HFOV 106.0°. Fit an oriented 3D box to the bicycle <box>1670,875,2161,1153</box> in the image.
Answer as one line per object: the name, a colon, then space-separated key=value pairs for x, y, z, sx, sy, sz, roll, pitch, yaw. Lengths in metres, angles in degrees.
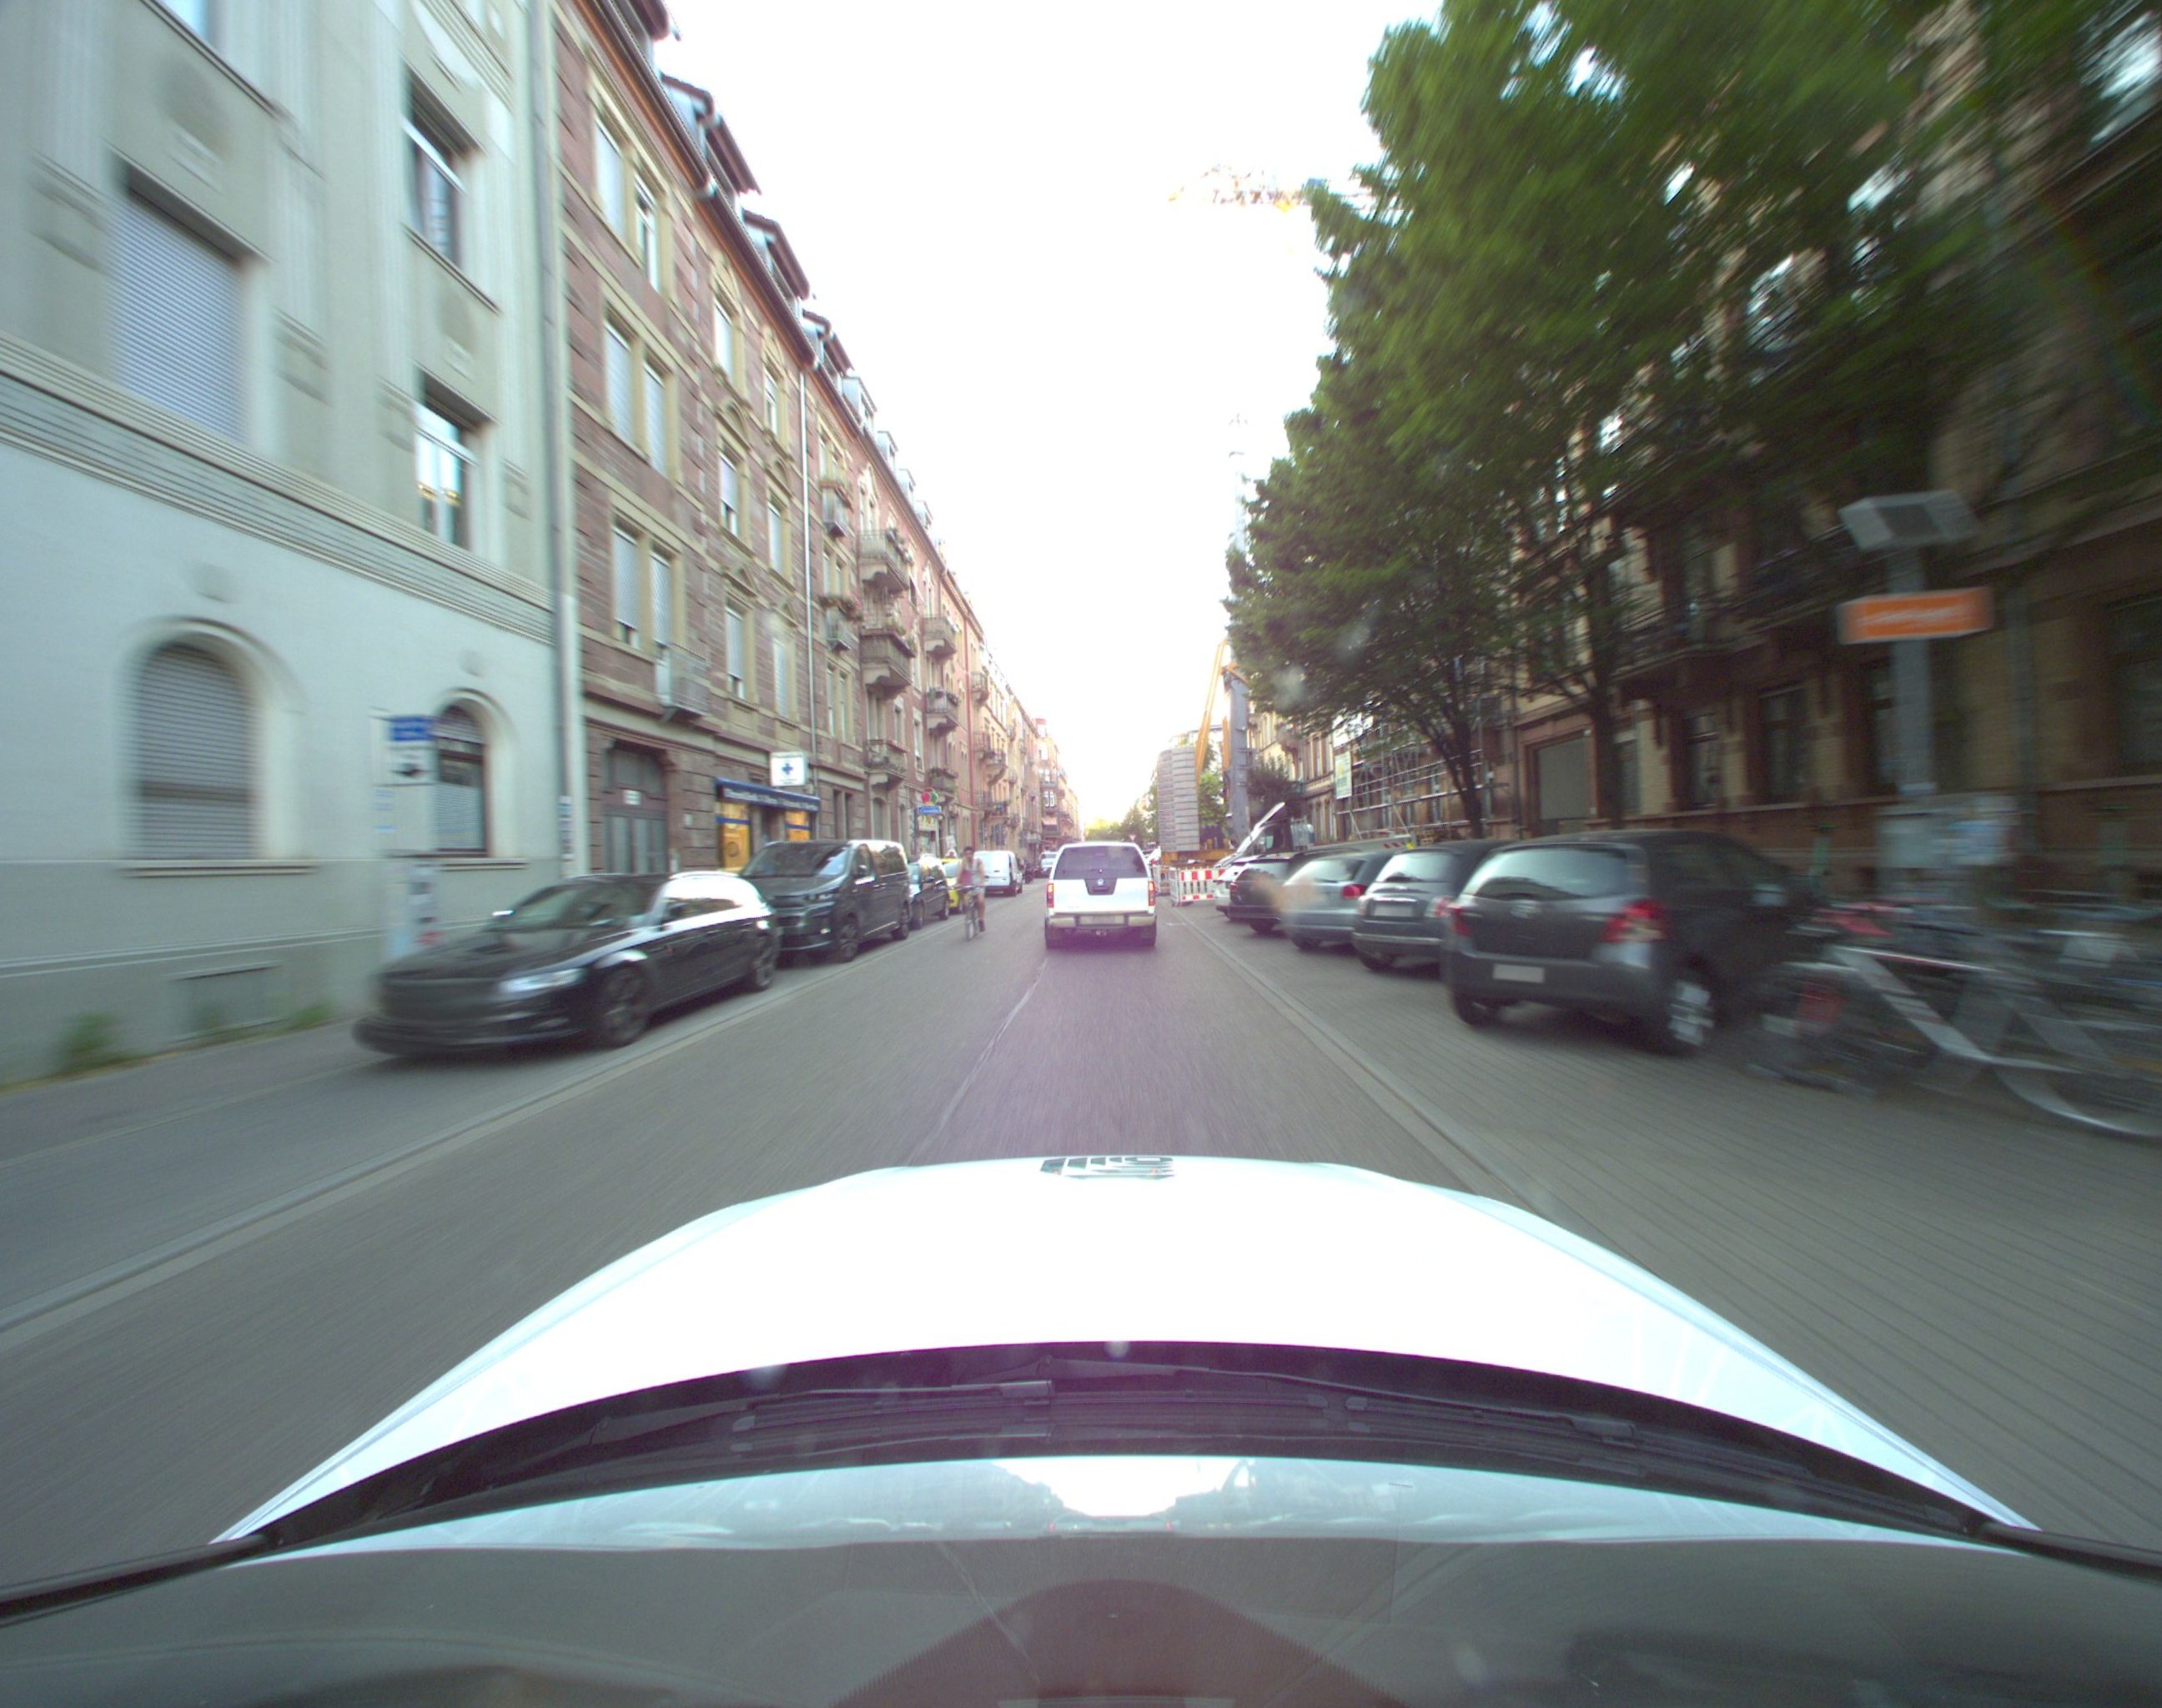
bicycle: x=4.306 y=0.691 z=4.248 sx=0.696 sy=1.107 sz=1.841 roll=-1 pitch=-2 yaw=-27

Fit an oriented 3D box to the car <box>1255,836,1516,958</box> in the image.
car: x=4.714 y=0.559 z=12.479 sx=3.852 sy=1.436 sz=1.744 roll=-4 pitch=1 yaw=-33

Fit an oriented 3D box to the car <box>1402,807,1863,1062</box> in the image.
car: x=4.547 y=0.468 z=6.679 sx=3.417 sy=1.474 sz=1.758 roll=-4 pitch=1 yaw=-30

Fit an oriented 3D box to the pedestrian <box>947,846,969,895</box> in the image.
pedestrian: x=-4.834 y=0.636 z=31.995 sx=0.735 sy=1.869 sz=0.618 roll=-2 pitch=0 yaw=0

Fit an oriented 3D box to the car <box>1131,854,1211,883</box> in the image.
car: x=4.895 y=0.792 z=43.978 sx=4.172 sy=1.429 sz=1.823 roll=-2 pitch=0 yaw=7

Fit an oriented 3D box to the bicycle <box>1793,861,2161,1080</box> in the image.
bicycle: x=5.501 y=0.618 z=4.805 sx=0.560 sy=1.107 sz=1.841 roll=-1 pitch=-2 yaw=-27

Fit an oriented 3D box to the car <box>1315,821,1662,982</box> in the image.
car: x=5.041 y=0.486 z=10.084 sx=3.843 sy=1.530 sz=1.748 roll=-4 pitch=0 yaw=-24

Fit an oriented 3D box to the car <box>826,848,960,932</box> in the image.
car: x=-4.209 y=0.745 z=18.930 sx=1.897 sy=1.663 sz=4.071 roll=-3 pitch=0 yaw=3

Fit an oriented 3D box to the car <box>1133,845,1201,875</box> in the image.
car: x=5.420 y=0.371 z=51.598 sx=4.176 sy=1.780 sz=1.822 roll=-2 pitch=0 yaw=4

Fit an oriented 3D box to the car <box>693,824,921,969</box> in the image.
car: x=-4.220 y=0.587 z=13.569 sx=1.897 sy=1.925 sz=4.950 roll=-1 pitch=0 yaw=2

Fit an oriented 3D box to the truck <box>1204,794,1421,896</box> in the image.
truck: x=7.275 y=-0.226 z=26.218 sx=6.294 sy=2.977 sz=2.265 roll=-2 pitch=-3 yaw=3

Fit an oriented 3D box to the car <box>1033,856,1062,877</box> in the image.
car: x=-2.515 y=0.945 z=62.018 sx=1.784 sy=1.530 sz=4.002 roll=-2 pitch=0 yaw=2

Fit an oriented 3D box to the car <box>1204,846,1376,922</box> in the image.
car: x=4.671 y=0.613 z=18.112 sx=3.570 sy=1.464 sz=1.596 roll=-1 pitch=0 yaw=-29

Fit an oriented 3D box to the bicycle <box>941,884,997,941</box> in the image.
bicycle: x=-2.145 y=1.113 z=15.910 sx=0.798 sy=0.947 sz=2.004 roll=-2 pitch=0 yaw=0

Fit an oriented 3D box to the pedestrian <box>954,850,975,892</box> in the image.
pedestrian: x=-5.342 y=0.776 z=37.395 sx=0.610 sy=1.869 sz=0.744 roll=-2 pitch=0 yaw=25

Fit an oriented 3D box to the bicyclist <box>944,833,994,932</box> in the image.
bicyclist: x=-2.165 y=0.532 z=15.877 sx=0.798 sy=1.849 sz=0.943 roll=-2 pitch=0 yaw=-1

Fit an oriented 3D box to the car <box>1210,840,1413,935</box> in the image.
car: x=4.388 y=0.548 z=15.263 sx=3.912 sy=1.530 sz=1.619 roll=-1 pitch=0 yaw=-38

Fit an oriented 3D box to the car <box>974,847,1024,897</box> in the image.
car: x=-3.289 y=0.683 z=33.177 sx=1.553 sy=1.921 sz=3.857 roll=0 pitch=0 yaw=1

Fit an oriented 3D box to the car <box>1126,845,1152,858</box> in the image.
car: x=10.561 y=-0.511 z=148.701 sx=4.567 sy=2.177 sz=1.822 roll=-2 pitch=0 yaw=4

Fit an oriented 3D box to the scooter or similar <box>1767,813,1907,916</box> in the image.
scooter or similar: x=10.034 y=0.131 z=10.870 sx=0.510 sy=1.242 sz=1.351 roll=-6 pitch=0 yaw=0

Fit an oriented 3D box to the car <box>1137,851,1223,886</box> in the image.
car: x=4.968 y=0.737 z=41.287 sx=4.176 sy=1.622 sz=1.822 roll=-2 pitch=0 yaw=4

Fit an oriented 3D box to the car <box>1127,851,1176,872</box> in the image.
car: x=6.142 y=0.650 z=71.193 sx=4.176 sy=1.622 sz=1.822 roll=-2 pitch=0 yaw=4

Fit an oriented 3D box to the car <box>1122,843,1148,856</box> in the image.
car: x=9.545 y=-0.774 z=144.428 sx=4.567 sy=2.177 sz=1.822 roll=-2 pitch=0 yaw=4

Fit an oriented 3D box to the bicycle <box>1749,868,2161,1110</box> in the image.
bicycle: x=4.969 y=0.657 z=4.514 sx=0.560 sy=1.107 sz=1.841 roll=-1 pitch=-2 yaw=-27

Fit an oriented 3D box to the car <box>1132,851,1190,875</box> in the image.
car: x=5.871 y=0.637 z=59.954 sx=4.176 sy=1.622 sz=1.822 roll=-2 pitch=0 yaw=4

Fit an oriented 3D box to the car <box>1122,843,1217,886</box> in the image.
car: x=4.072 y=0.476 z=37.375 sx=4.172 sy=1.780 sz=1.823 roll=-2 pitch=0 yaw=7

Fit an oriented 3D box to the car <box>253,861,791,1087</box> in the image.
car: x=-4.629 y=0.839 z=7.822 sx=1.904 sy=1.472 sz=4.535 roll=-1 pitch=0 yaw=2

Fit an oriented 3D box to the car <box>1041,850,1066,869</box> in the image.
car: x=-2.266 y=0.447 z=67.921 sx=1.703 sy=1.530 sz=4.002 roll=-2 pitch=0 yaw=2

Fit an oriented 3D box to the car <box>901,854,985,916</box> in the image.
car: x=-3.903 y=0.831 z=23.653 sx=1.493 sy=1.593 sz=3.860 roll=-3 pitch=0 yaw=3

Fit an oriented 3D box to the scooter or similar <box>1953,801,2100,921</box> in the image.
scooter or similar: x=10.562 y=0.060 z=9.158 sx=0.365 sy=1.218 sz=1.630 roll=-6 pitch=-1 yaw=26

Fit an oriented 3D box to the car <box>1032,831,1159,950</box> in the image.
car: x=0.295 y=0.572 z=14.869 sx=1.926 sy=1.794 sz=4.623 roll=-1 pitch=0 yaw=2

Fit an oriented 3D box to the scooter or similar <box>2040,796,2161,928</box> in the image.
scooter or similar: x=10.566 y=0.052 z=8.233 sx=0.365 sy=1.218 sz=1.714 roll=-6 pitch=-1 yaw=26

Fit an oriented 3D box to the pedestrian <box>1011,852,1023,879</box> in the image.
pedestrian: x=-4.837 y=0.849 z=61.680 sx=0.785 sy=2.013 sz=0.935 roll=-2 pitch=0 yaw=1

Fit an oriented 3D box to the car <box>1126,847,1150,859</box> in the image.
car: x=11.394 y=-0.200 z=162.090 sx=4.567 sy=2.177 sz=1.822 roll=-2 pitch=0 yaw=4

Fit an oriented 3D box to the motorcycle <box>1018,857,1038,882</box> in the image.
motorcycle: x=-3.093 y=0.902 z=47.952 sx=0.833 sy=1.416 sz=2.551 roll=-2 pitch=0 yaw=3

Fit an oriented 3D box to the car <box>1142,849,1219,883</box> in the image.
car: x=5.645 y=0.656 z=46.170 sx=4.172 sy=1.780 sz=1.823 roll=-2 pitch=0 yaw=7
